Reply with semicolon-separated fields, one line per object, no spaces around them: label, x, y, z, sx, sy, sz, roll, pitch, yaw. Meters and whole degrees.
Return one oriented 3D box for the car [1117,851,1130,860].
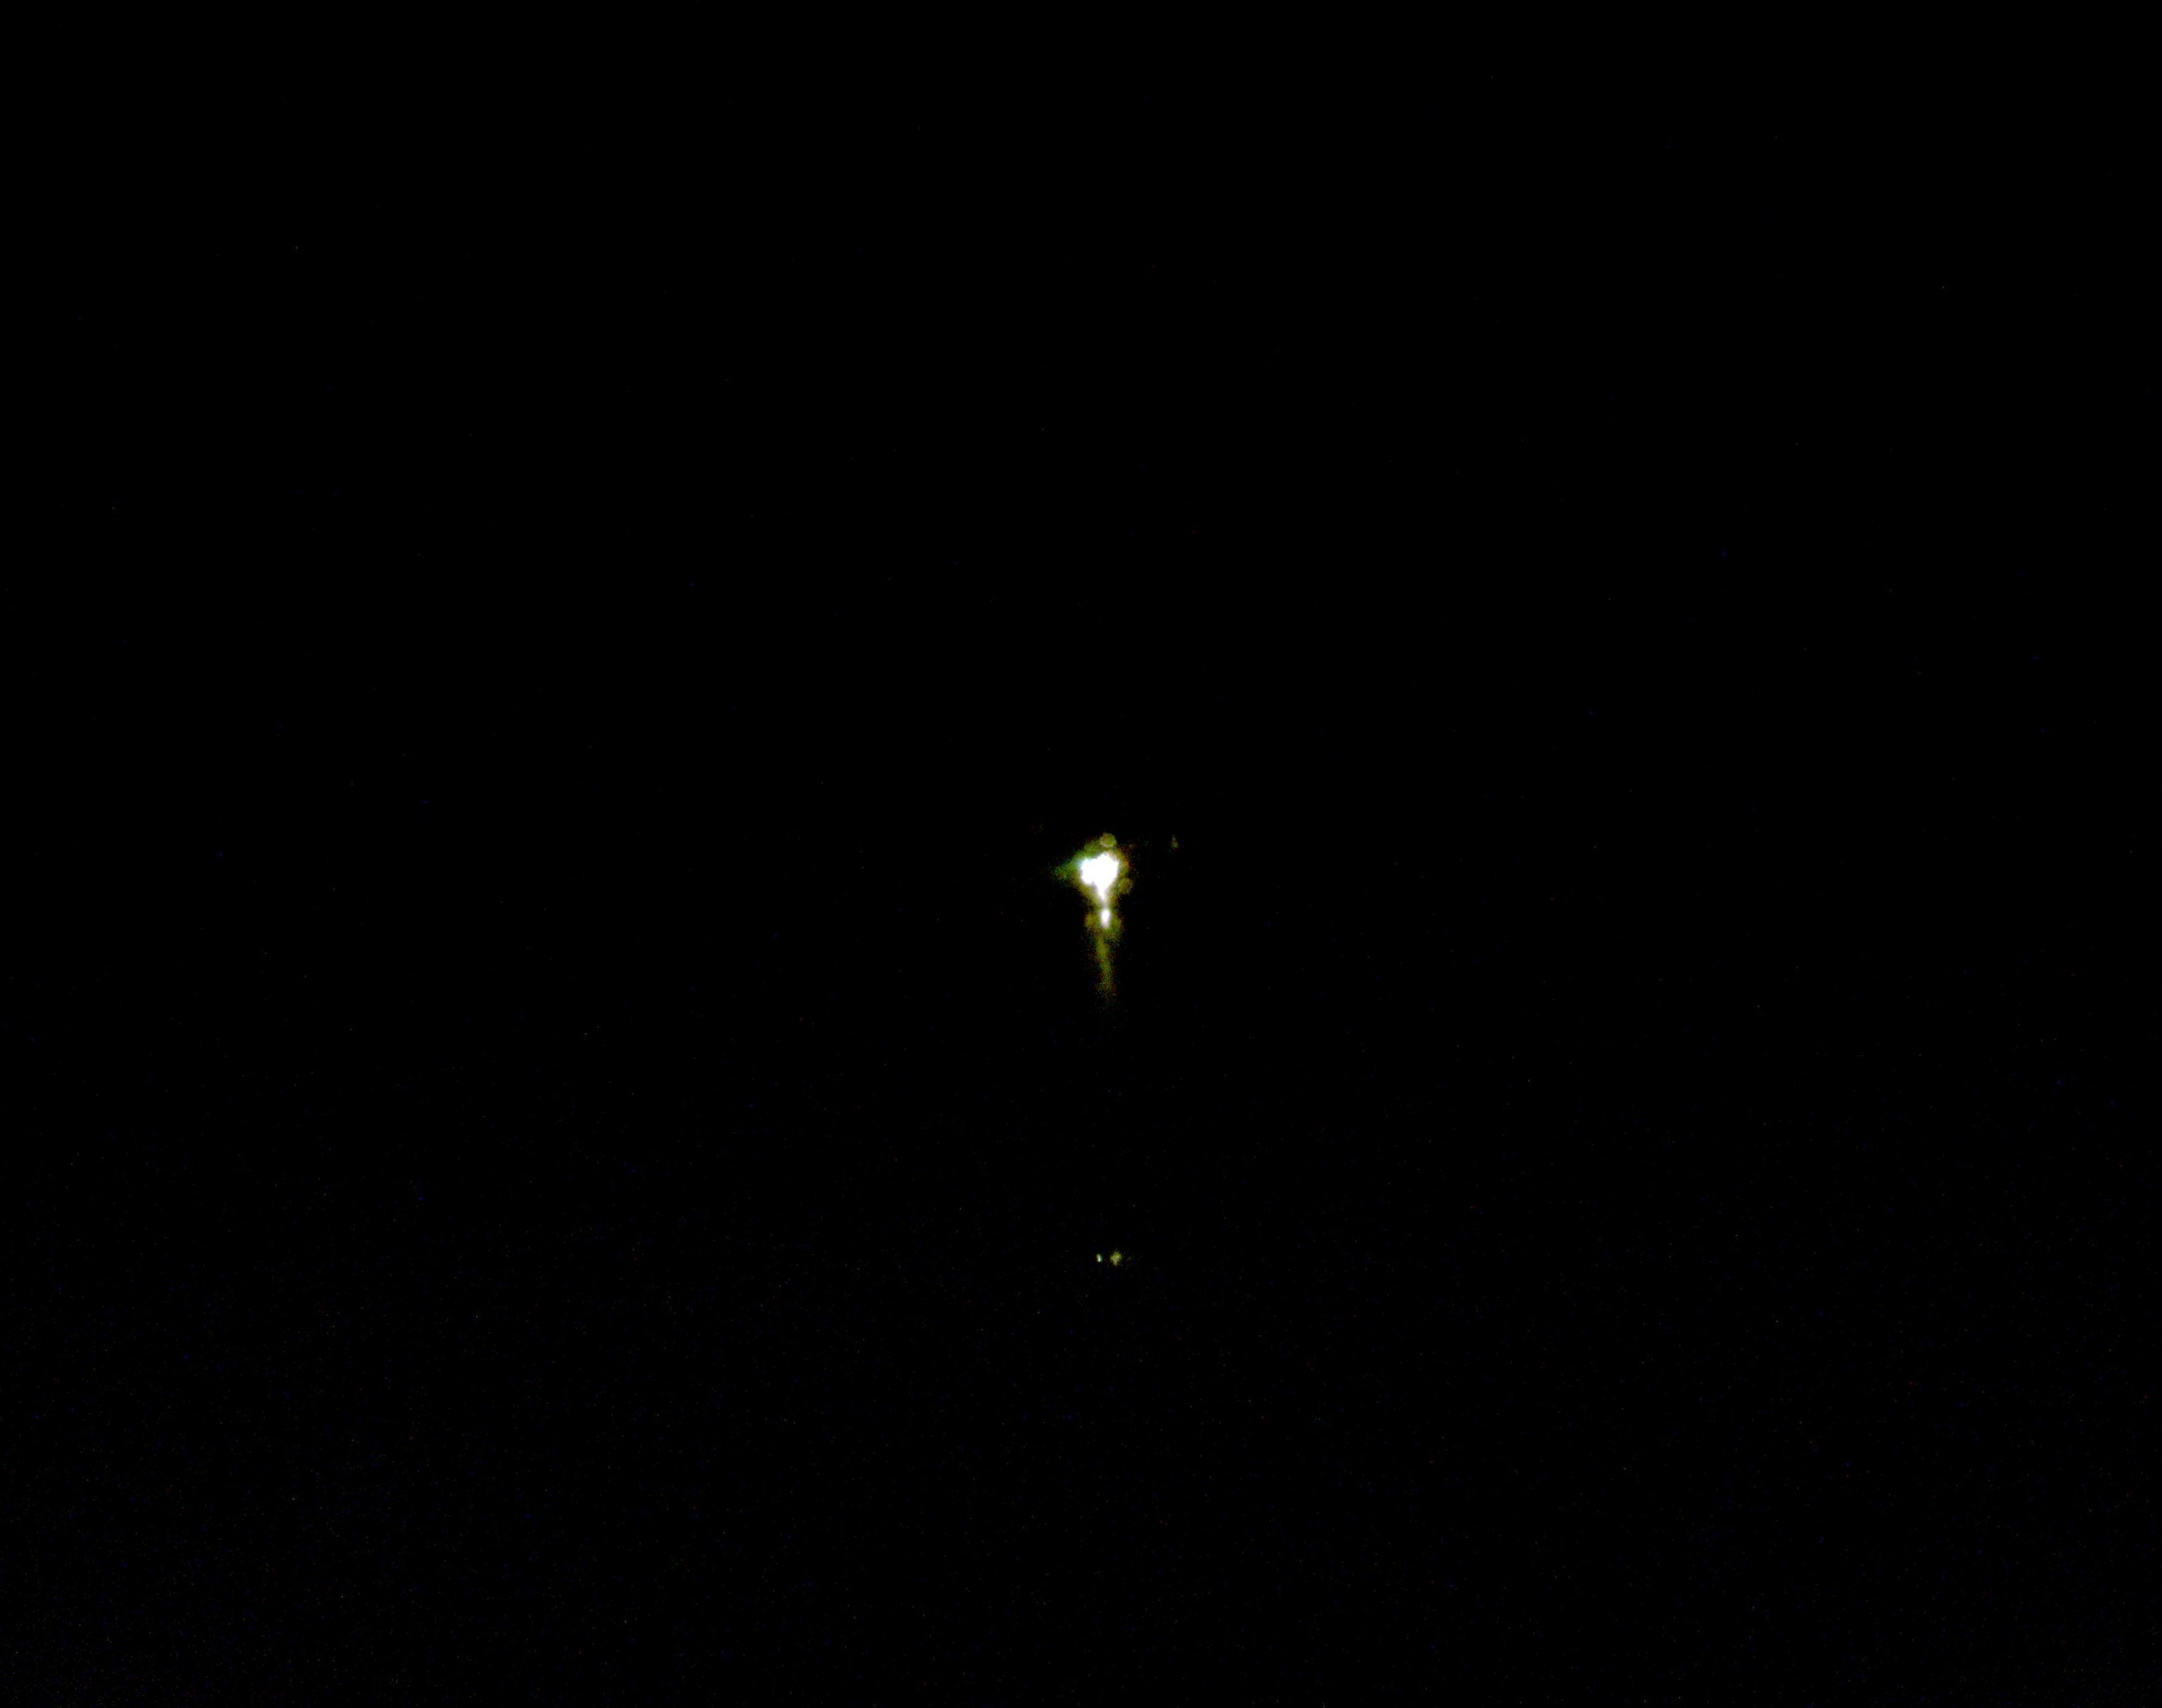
car;7.442;0.230;133.664;1.998;1.567;4.661;-2;0;1

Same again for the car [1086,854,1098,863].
car;2.045;0.848;139.695;1.998;1.575;4.000;-3;0;1

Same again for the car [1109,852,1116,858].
car;8.882;0.256;213.484;1.813;1.612;4.001;-2;0;4

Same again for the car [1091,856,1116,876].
car;1.932;0.996;65.461;1.998;1.575;4.000;-3;0;1
